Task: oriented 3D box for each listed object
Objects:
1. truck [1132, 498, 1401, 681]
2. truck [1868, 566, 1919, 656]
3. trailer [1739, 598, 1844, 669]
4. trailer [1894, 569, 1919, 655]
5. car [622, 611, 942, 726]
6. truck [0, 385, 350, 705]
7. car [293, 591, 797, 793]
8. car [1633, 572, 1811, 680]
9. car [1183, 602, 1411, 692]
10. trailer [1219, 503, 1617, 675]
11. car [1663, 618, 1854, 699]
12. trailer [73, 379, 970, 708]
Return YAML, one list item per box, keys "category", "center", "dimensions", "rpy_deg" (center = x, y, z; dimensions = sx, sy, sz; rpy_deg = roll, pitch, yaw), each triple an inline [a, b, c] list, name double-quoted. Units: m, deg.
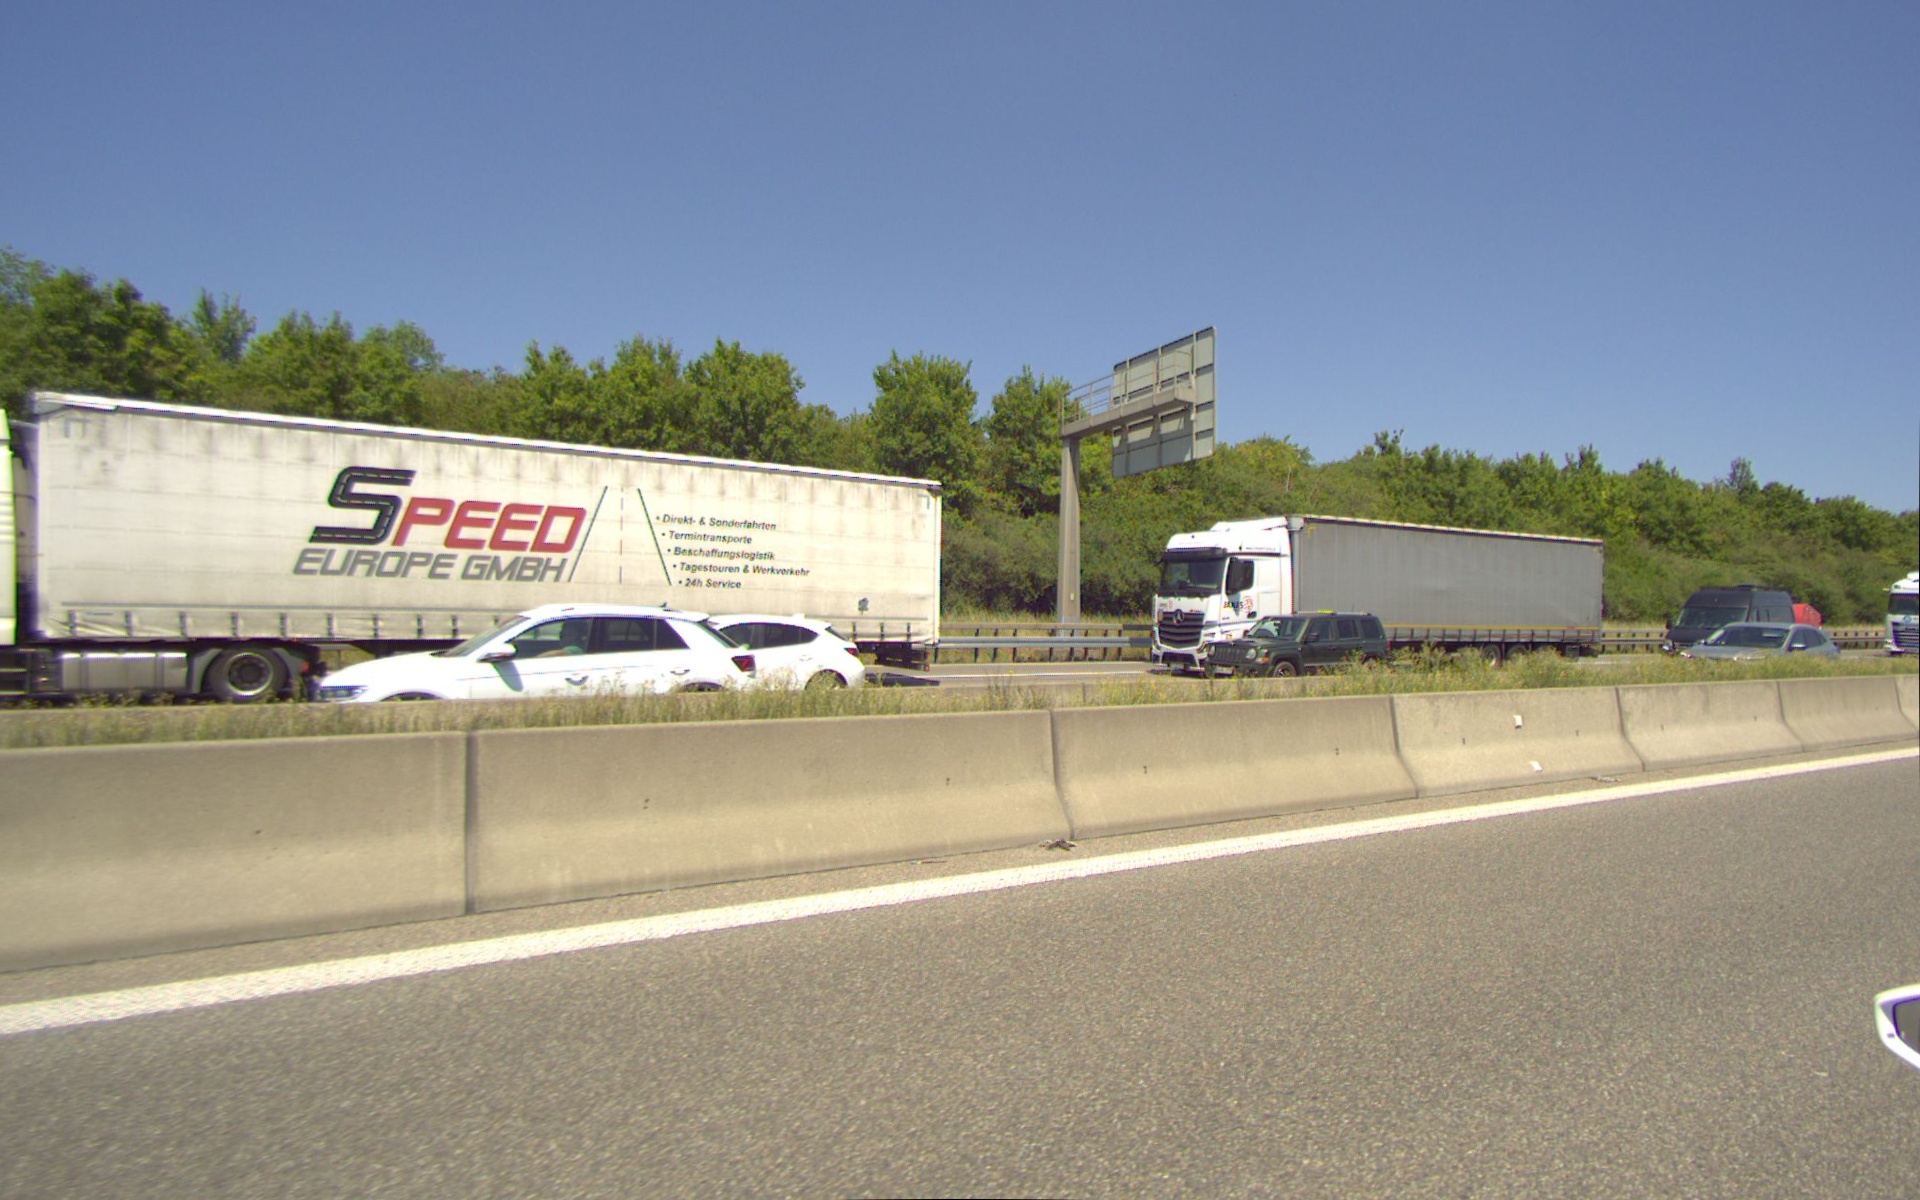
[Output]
- category: "truck"
  center: [8.054, -0.165, 26.298]
  dimensions: [6.522, 4.266, 2.949]
  rpy_deg: [2, 0, -29]
- category: "truck"
  center: [46.591, 0.554, 47.976]
  dimensions: [6.522, 4.090, 2.841]
  rpy_deg: [1, -1, -29]
- category: "trailer"
  center: [27.952, 1.106, 33.743]
  dimensions: [3.917, 2.283, 1.561]
  rpy_deg: [1, -1, -32]
- category: "trailer"
  center: [52.759, 0.653, 51.280]
  dimensions: [14.261, 4.140, 2.891]
  rpy_deg: [1, -1, -28]
- category: "car"
  center: [-2.633, 0.990, 15.149]
  dimensions: [4.356, 1.494, 1.872]
  rpy_deg: [2, -1, -31]
- category: "truck"
  center: [-12.357, -0.701, 14.413]
  dimensions: [6.029, 4.097, 2.741]
  rpy_deg: [1, 0, -31]
- category: "car"
  center: [-4.091, 0.839, 10.251]
  dimensions: [4.356, 1.665, 1.983]
  rpy_deg: [2, -1, -31]
- category: "car"
  center: [23.614, 0.776, 31.035]
  dimensions: [6.478, 3.054, 2.225]
  rpy_deg: [1, -1, -32]
- category: "car"
  center: [7.200, 0.966, 21.362]
  dimensions: [4.735, 1.738, 1.984]
  rpy_deg: [2, -1, -30]
- category: "trailer"
  center: [13.924, -0.100, 29.598]
  dimensions: [14.023, 4.262, 2.968]
  rpy_deg: [2, 0, -30]
- category: "car"
  center: [18.687, 1.307, 23.458]
  dimensions: [4.739, 1.710, 1.923]
  rpy_deg: [1, -1, -30]
- category: "trailer"
  center: [-6.429, -0.614, 17.921]
  dimensions: [13.705, 4.335, 2.797]
  rpy_deg: [1, 0, -30]
